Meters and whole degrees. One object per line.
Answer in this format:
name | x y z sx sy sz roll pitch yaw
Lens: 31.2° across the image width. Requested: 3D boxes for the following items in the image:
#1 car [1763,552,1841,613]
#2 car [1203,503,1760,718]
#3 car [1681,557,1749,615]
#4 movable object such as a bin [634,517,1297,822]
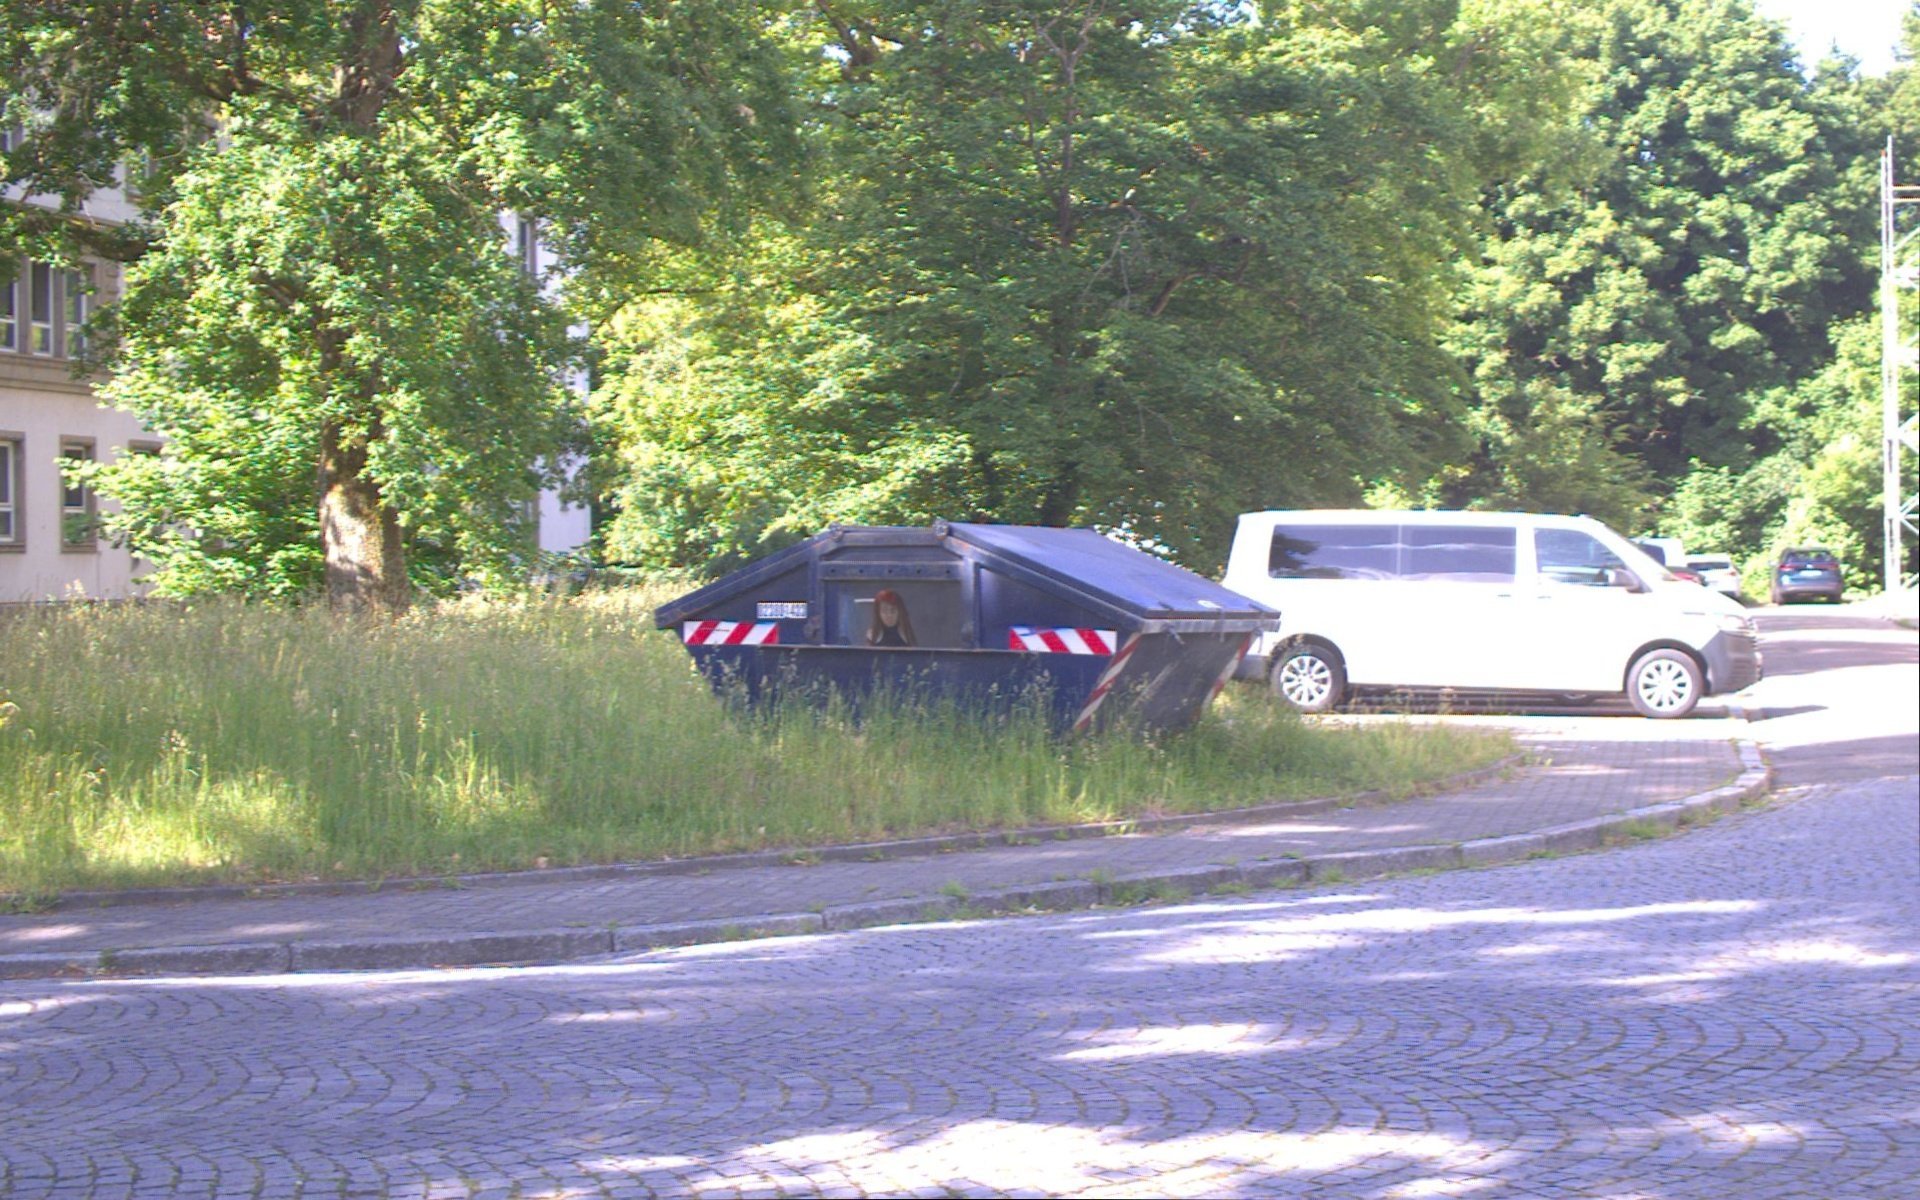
car | 23.828 -0.499 97.400 1.972 1.662 4.084 -1 0 11
car | 5.114 0.095 33.652 5.237 2.009 1.949 0 0 12
car | 21.416 -0.415 97.621 1.813 1.574 4.132 -1 0 11
movable object such as a bin | 0.031 0.399 21.367 3.571 1.739 2.021 -1 0 31
